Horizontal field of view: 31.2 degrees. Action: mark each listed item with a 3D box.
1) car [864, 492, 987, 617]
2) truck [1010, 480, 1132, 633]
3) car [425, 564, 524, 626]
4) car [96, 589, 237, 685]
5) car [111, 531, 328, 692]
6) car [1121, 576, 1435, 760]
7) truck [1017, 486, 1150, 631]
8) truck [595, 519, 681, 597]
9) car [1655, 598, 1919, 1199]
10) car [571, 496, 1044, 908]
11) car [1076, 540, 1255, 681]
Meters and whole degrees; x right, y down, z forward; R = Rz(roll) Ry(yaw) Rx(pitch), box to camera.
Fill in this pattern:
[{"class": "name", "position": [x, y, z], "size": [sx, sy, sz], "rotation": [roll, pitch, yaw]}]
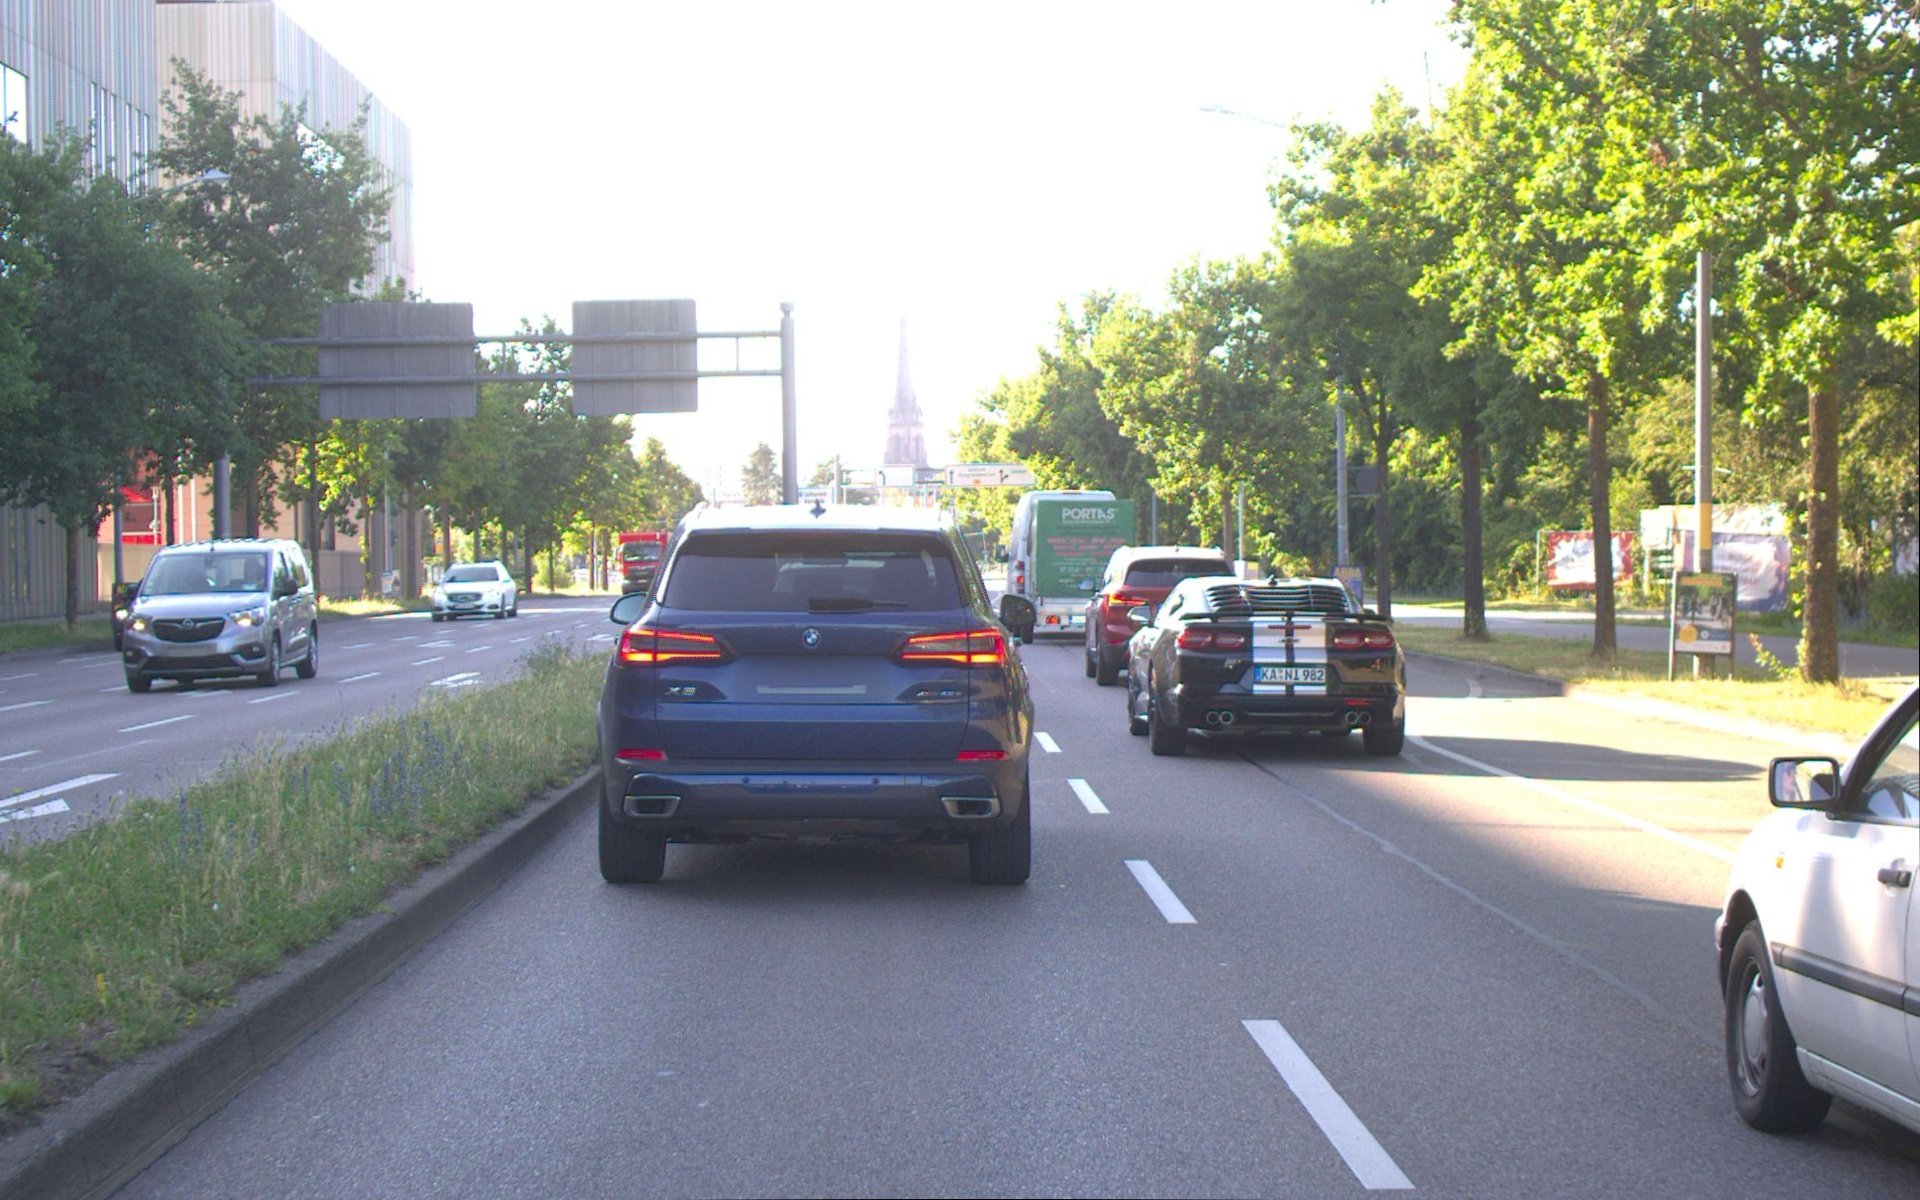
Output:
[{"class": "car", "position": [-0.783, -0.928, 73.619], "size": [2.136, 2.567, 5.088], "rotation": [1, 0, -6]}, {"class": "truck", "position": [1.980, -0.755, 62.341], "size": [1.996, 2.659, 4.000], "rotation": [1, 0, -1]}, {"class": "car", "position": [-12.777, -0.121, 90.687], "size": [1.993, 1.447, 4.715], "rotation": [-4, 0, -2]}, {"class": "car", "position": [-15.551, 0.706, 67.590], "size": [1.756, 1.699, 4.494], "rotation": [-4, 0, -2]}, {"class": "car", "position": [-9.153, 0.143, 42.815], "size": [1.756, 1.771, 4.494], "rotation": [-4, 0, -2]}, {"class": "car", "position": [2.376, 0.496, 26.661], "size": [1.993, 1.290, 4.000], "rotation": [1, 0, -1]}, {"class": "truck", "position": [2.035, -0.656, 57.520], "size": [1.996, 2.307, 4.000], "rotation": [1, 0, -1]}, {"class": "truck", "position": [-17.613, -2.238, 188.817], "size": [3.988, 4.074, 11.449], "rotation": [1, 0, -2]}, {"class": "car", "position": [2.854, 0.713, 7.858], "size": [1.578, 1.408, 4.062], "rotation": [1, 0, -2]}, {"class": "car", "position": [-0.679, 0.448, 16.928], "size": [1.993, 1.728, 4.533], "rotation": [1, 0, -1]}, {"class": "car", "position": [2.372, 0.126, 40.518], "size": [1.796, 1.553, 4.000], "rotation": [1, 0, -1]}]
